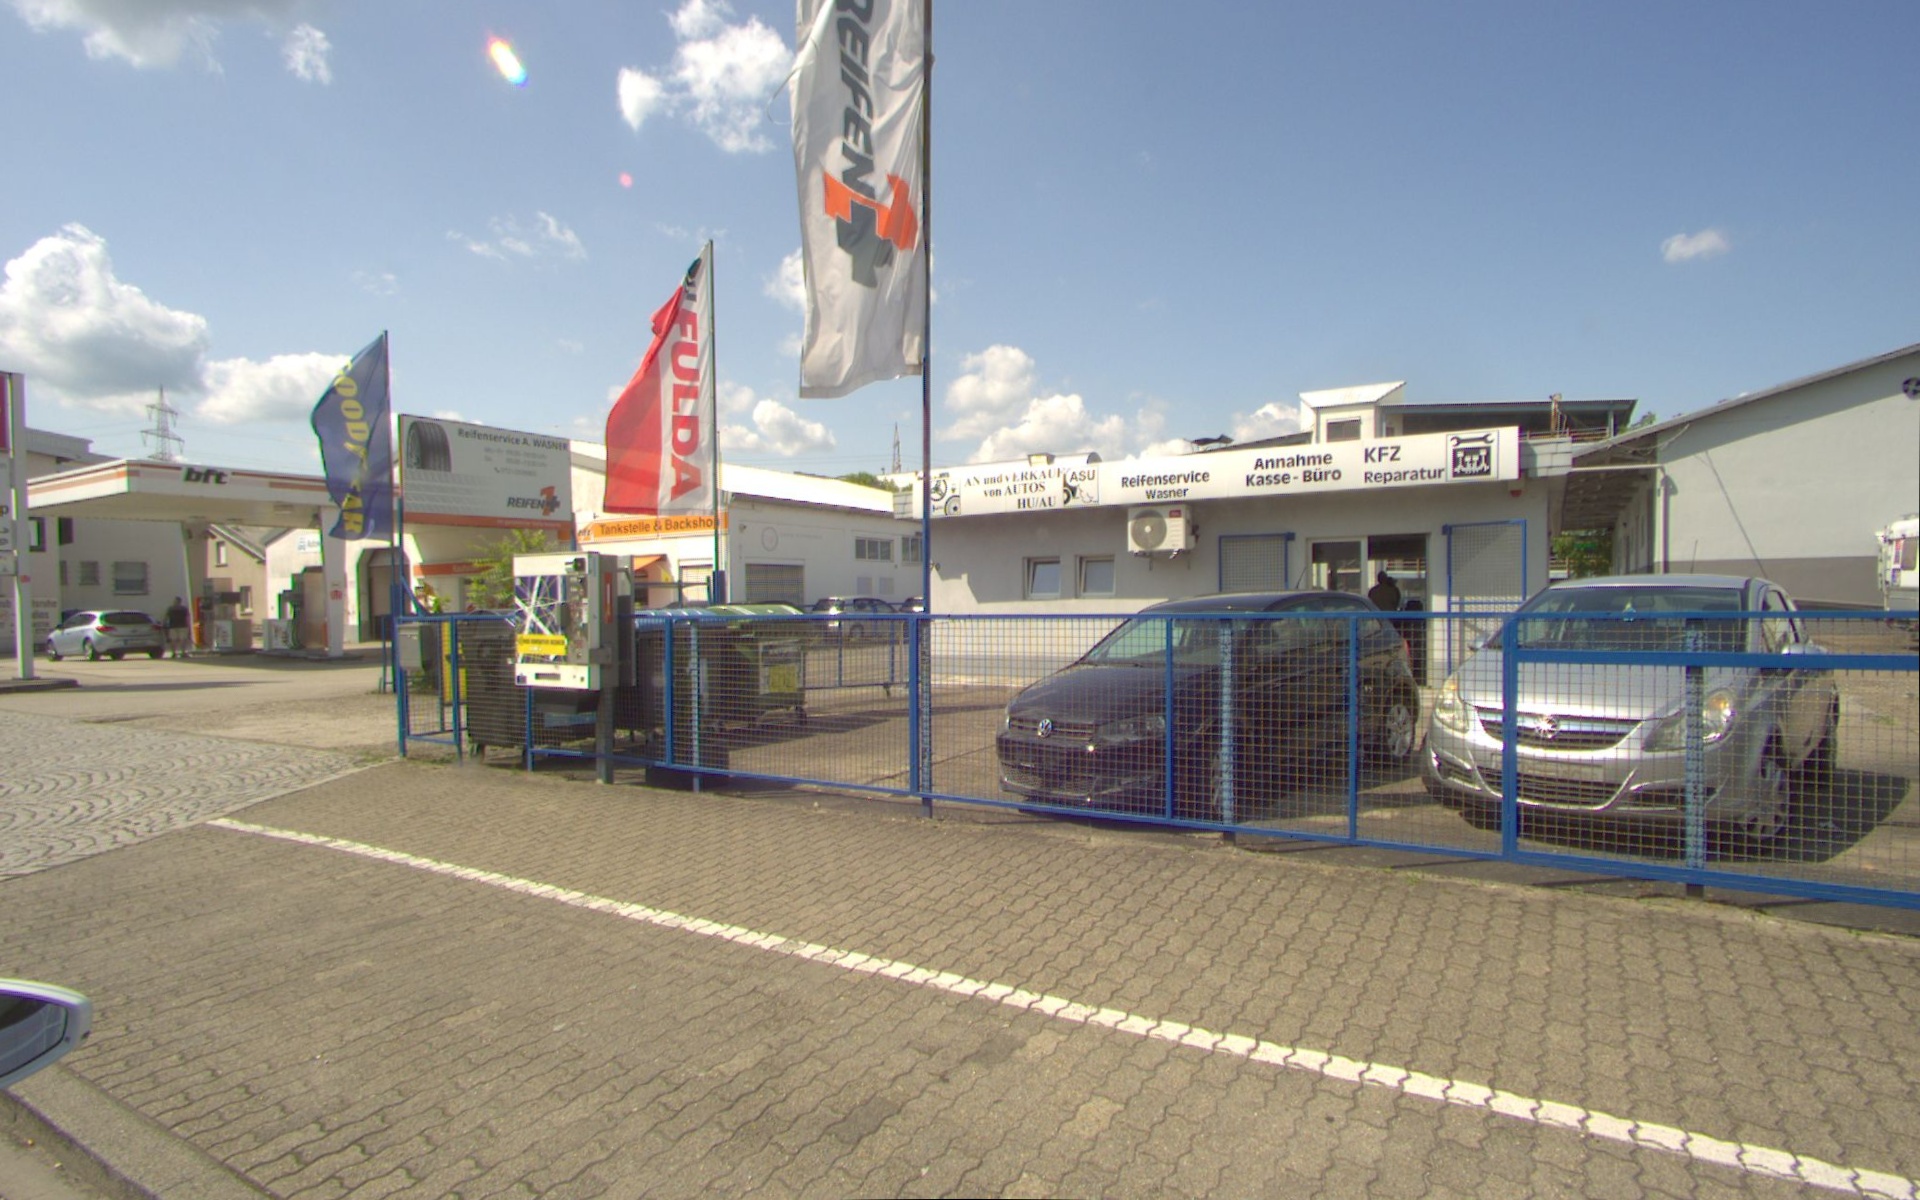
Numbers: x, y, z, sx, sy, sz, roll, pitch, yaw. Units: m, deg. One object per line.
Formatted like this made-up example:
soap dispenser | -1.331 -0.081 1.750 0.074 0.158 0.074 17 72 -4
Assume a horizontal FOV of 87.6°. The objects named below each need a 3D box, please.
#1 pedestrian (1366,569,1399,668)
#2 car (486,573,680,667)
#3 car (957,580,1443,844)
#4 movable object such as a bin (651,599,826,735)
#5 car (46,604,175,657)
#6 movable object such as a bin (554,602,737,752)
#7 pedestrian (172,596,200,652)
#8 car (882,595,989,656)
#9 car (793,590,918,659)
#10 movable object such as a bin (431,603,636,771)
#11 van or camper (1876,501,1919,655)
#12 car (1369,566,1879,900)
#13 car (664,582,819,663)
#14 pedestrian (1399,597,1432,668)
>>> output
pedestrian | 7.441 0.324 17.624 0.480 1.710 0.499 0 1 30
car | -8.917 0.433 23.990 1.971 2.040 3.979 0 0 32
car | 2.011 0.624 7.656 3.962 1.499 1.705 -1 1 -43
movable object such as a bin | -2.609 0.740 11.908 1.433 1.473 1.427 0 1 31
car | -25.838 0.887 30.442 3.950 1.499 1.829 -1 1 31
movable object such as a bin | -3.375 0.772 10.793 1.434 1.473 1.224 0 1 31
pedestrian | -23.744 0.727 30.723 0.628 1.705 0.618 -1 1 -36
car | -0.808 0.862 35.885 1.971 2.040 3.979 0 0 32
car | -3.268 0.726 31.996 1.971 2.040 3.979 0 0 32
movable object such as a bin | -4.136 0.781 9.753 1.434 1.473 1.224 0 1 31
van or camper | 21.343 -0.461 19.329 4.983 3.002 2.276 0 1 31
car | 4.498 0.584 6.520 4.104 1.499 1.787 -1 0 -42
car | -5.952 0.569 27.644 1.971 2.040 3.979 0 0 32
pedestrian | 7.975 0.560 17.533 0.480 1.229 0.499 0 1 30
